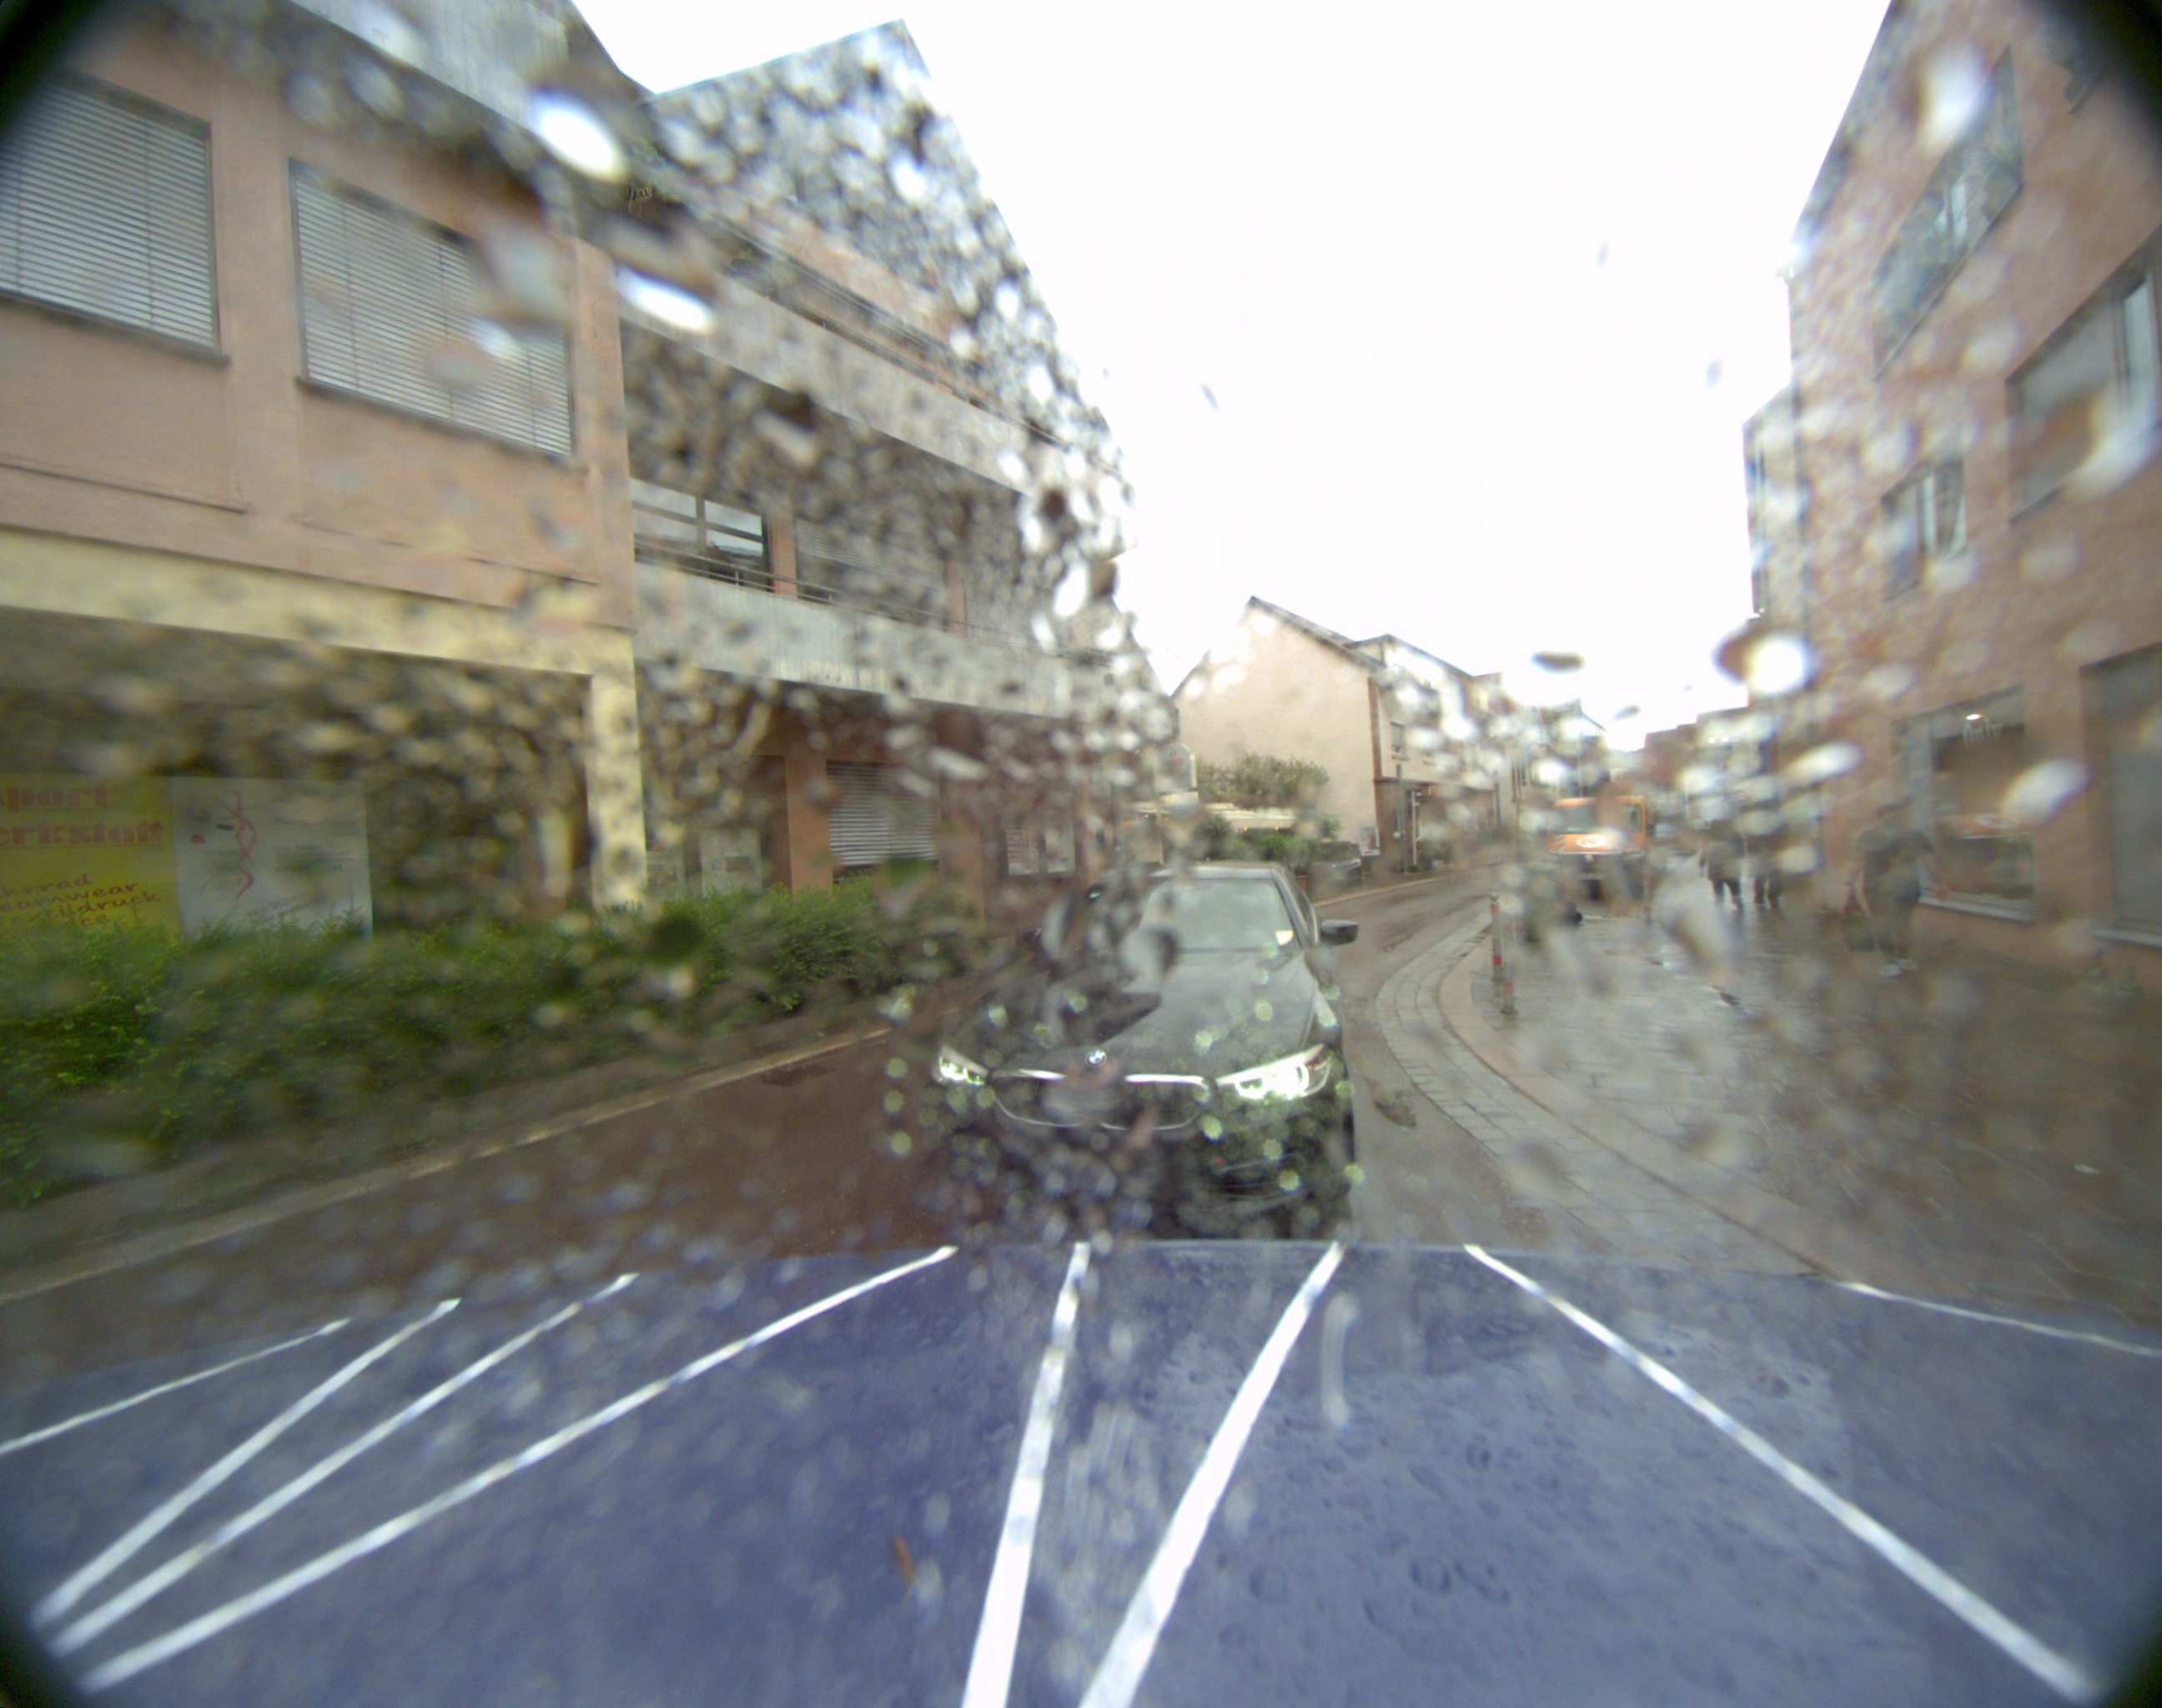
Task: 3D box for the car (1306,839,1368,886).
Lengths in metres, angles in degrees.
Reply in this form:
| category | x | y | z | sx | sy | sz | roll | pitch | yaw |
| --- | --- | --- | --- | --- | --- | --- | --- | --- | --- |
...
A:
| category | x | y | z | sx | sy | sz | roll | pitch | yaw |
| --- | --- | --- | --- | --- | --- | --- | --- | --- | --- |
| car | 8.454 | 0.238 | 25.192 | 1.735 | 1.349 | 3.941 | -3 | 1 | 18 |

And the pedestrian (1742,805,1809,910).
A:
| category | x | y | z | sx | sy | sz | roll | pitch | yaw |
| --- | --- | --- | --- | --- | --- | --- | --- | --- | --- |
| pedestrian | 11.817 | 0.051 | 12.952 | 0.623 | 1.702 | 0.810 | -4 | 0 | 33 |

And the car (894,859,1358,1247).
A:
| category | x | y | z | sx | sy | sz | roll | pitch | yaw |
| --- | --- | --- | --- | --- | --- | --- | --- | --- | --- |
| car | 0.725 | 0.845 | 5.359 | 1.945 | 1.394 | 4.424 | -3 | 0 | 16 |

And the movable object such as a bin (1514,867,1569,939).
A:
| category | x | y | z | sx | sy | sz | roll | pitch | yaw |
| --- | --- | --- | --- | --- | --- | --- | --- | --- | --- |
| movable object such as a bin | 6.995 | 0.732 | 11.552 | 0.657 | 1.031 | 0.611 | -2 | 1 | 31 |

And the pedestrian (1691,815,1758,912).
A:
| category | x | y | z | sx | sy | sz | roll | pitch | yaw |
| --- | --- | --- | --- | --- | --- | --- | --- | --- | --- |
| pedestrian | 11.254 | 0.160 | 13.320 | 0.715 | 1.630 | 0.747 | -4 | 0 | 33 |

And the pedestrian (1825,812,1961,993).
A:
| category | x | y | z | sx | sy | sz | roll | pitch | yaw |
| --- | --- | --- | --- | --- | --- | --- | --- | --- | --- |
| pedestrian | 7.619 | 0.433 | 7.167 | 0.660 | 1.600 | 0.685 | -3 | 1 | 30 |

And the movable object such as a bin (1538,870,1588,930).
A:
| category | x | y | z | sx | sy | sz | roll | pitch | yaw |
| --- | --- | --- | --- | --- | --- | --- | --- | --- | --- |
| movable object such as a bin | 7.849 | 0.741 | 12.373 | 0.582 | 0.921 | 0.482 | -3 | 1 | 41 |

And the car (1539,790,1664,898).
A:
| category | x | y | z | sx | sy | sz | roll | pitch | yaw |
| --- | --- | --- | --- | --- | --- | --- | --- | --- | --- |
| car | 12.781 | -0.283 | 18.455 | 1.994 | 2.227 | 5.872 | -2 | 1 | 39 |

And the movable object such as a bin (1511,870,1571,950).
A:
| category | x | y | z | sx | sy | sz | roll | pitch | yaw |
| --- | --- | --- | --- | --- | --- | --- | --- | --- | --- |
| movable object such as a bin | 6.329 | 0.760 | 10.466 | 0.657 | 1.030 | 0.611 | -3 | 1 | 31 |

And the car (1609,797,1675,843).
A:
| category | x | y | z | sx | sy | sz | roll | pitch | yaw |
| --- | --- | --- | --- | --- | --- | --- | --- | --- | --- |
| car | 39.347 | -2.331 | 53.137 | 2.705 | 2.857 | 8.862 | -3 | -1 | 42 |
